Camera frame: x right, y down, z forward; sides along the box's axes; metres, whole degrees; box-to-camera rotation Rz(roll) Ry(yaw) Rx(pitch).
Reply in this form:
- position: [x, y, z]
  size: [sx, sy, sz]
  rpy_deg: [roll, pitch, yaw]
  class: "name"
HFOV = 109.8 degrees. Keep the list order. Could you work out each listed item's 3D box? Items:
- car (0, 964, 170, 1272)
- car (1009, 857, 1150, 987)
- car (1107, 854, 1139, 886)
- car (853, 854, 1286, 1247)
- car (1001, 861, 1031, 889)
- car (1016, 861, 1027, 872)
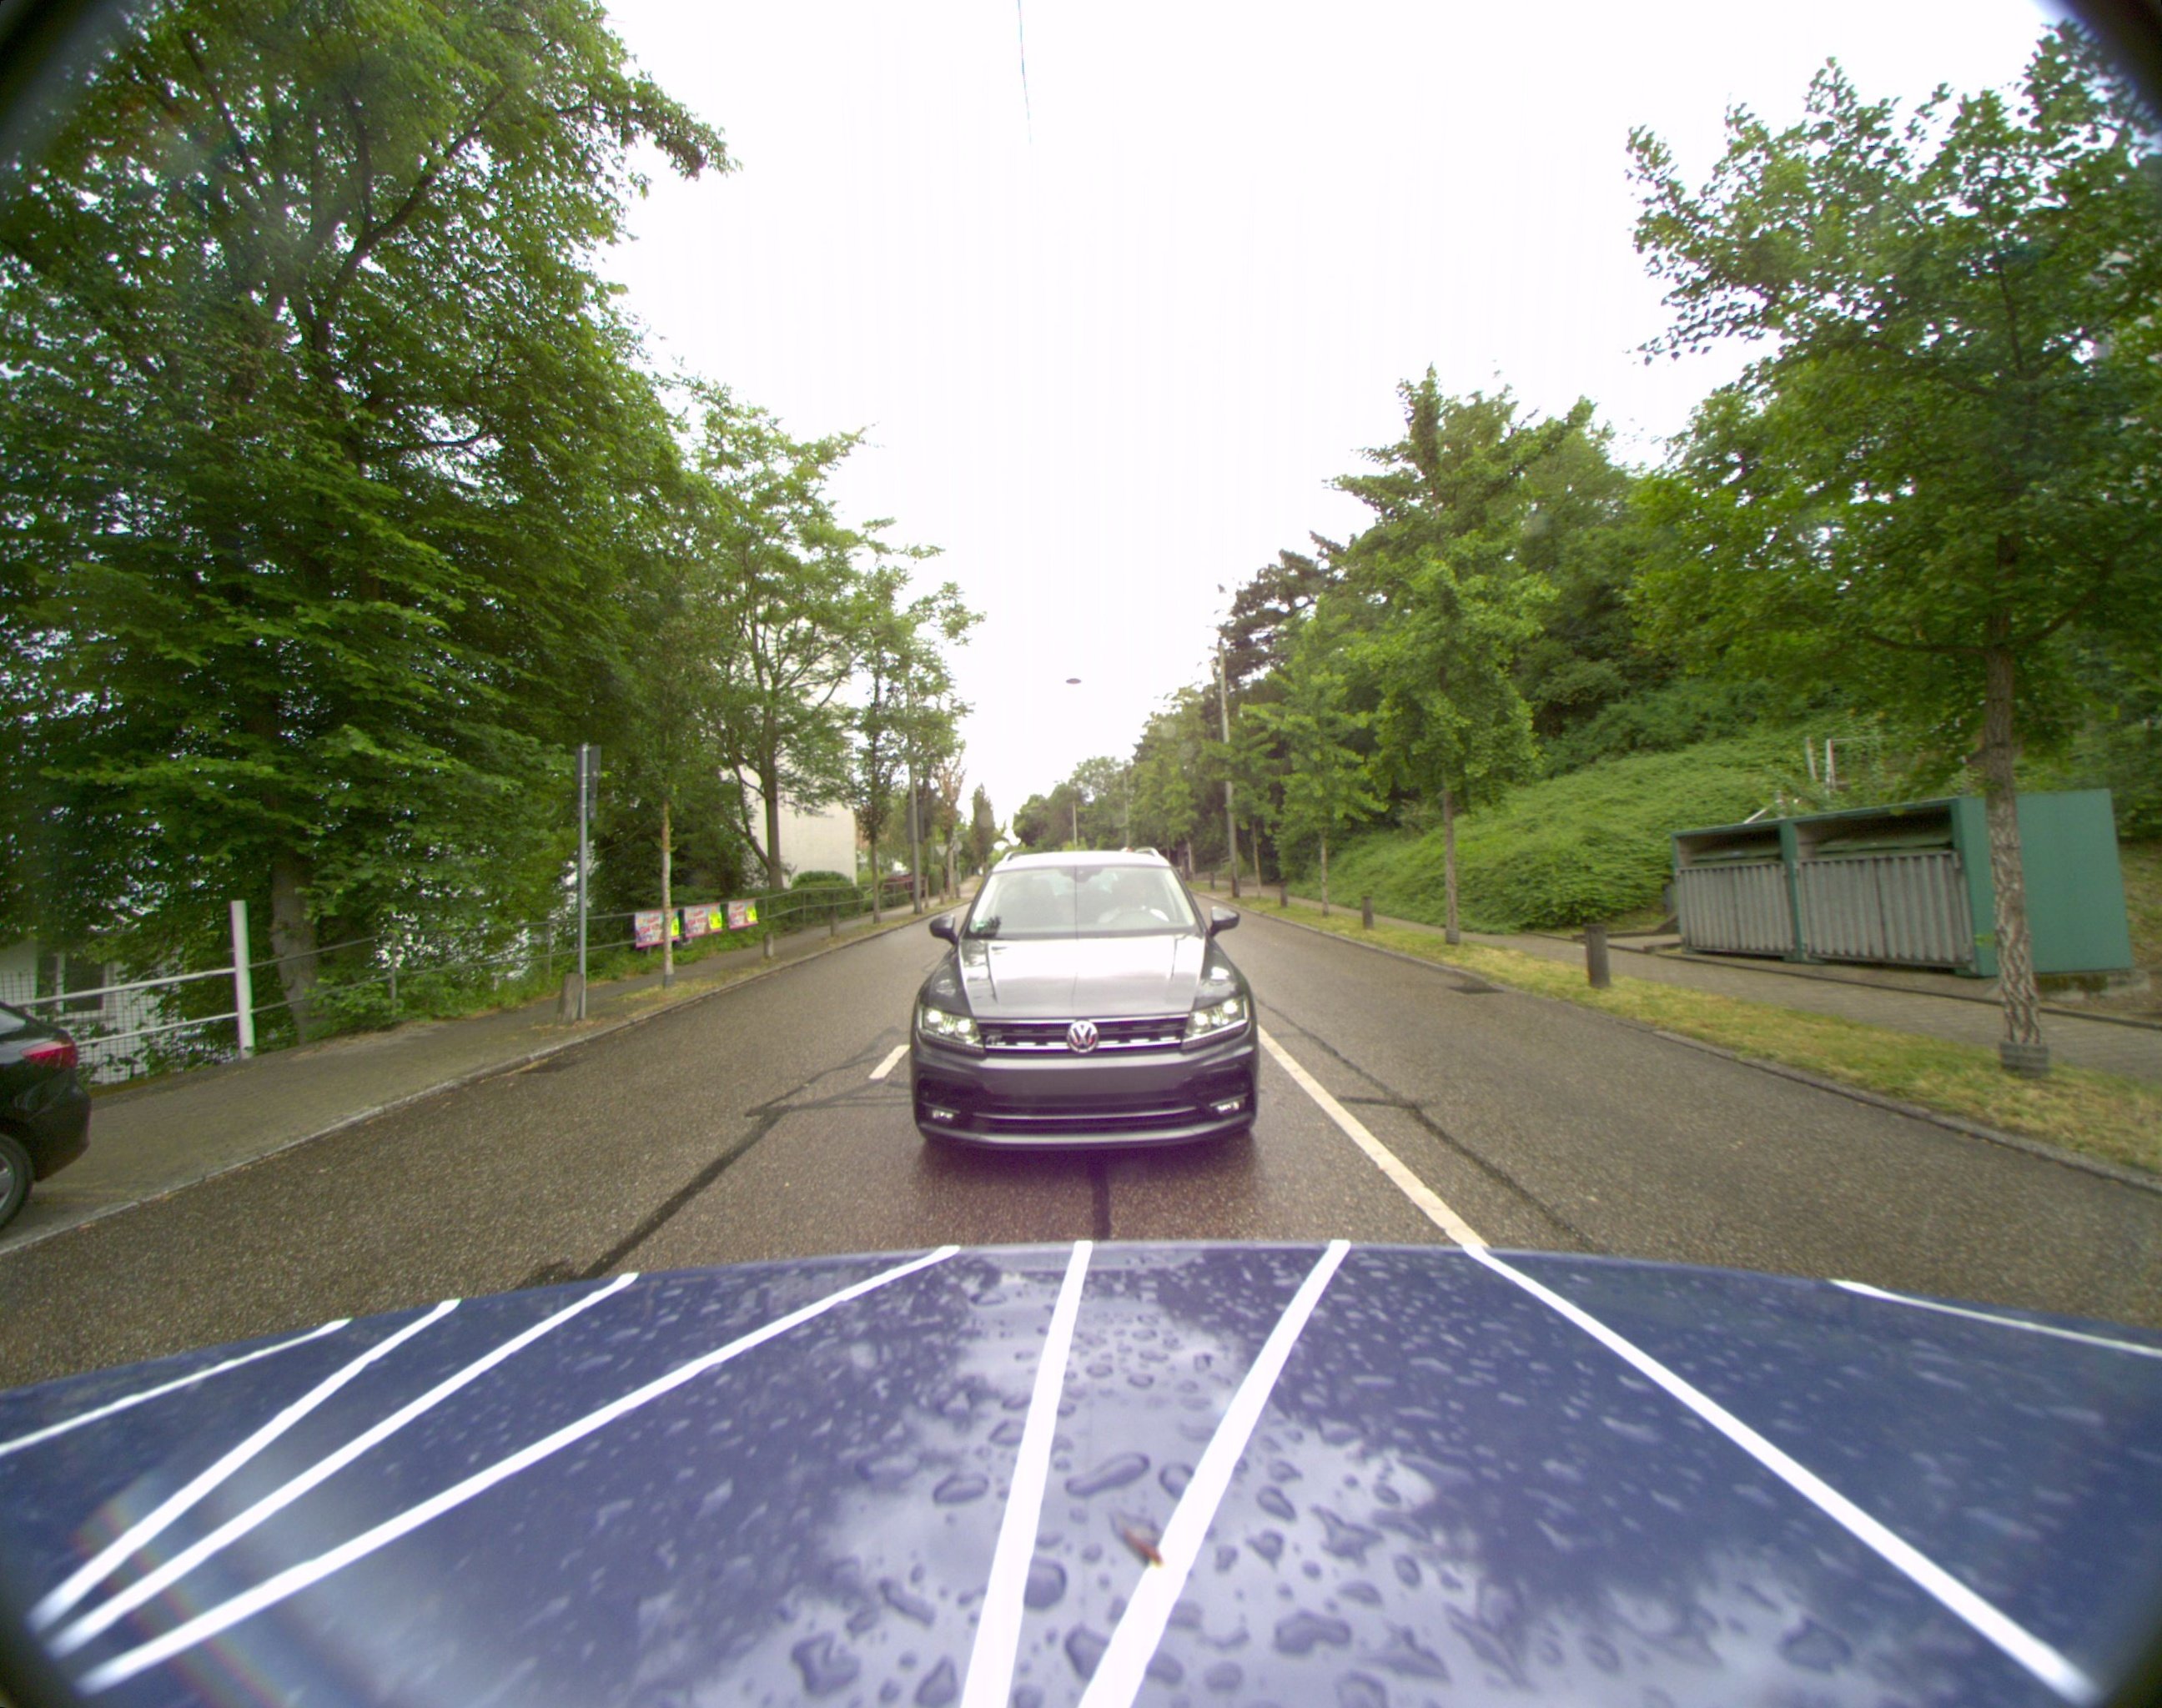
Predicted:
- position: [-6.347, 1.372, 2.236]
  size: [1.999, 1.426, 4.442]
  rpy_deg: [-1, 0, -1]
  class: "car"
- position: [0.006, 0.932, 12.454]
  size: [1.834, 1.608, 4.350]
  rpy_deg: [-3, 1, 1]
  class: "car"
- position: [2.477, 0.909, 45.936]
  size: [1.751, 1.817, 4.458]
  rpy_deg: [-1, 1, 1]
  class: "car"
- position: [-0.020, 0.875, 5.497]
  size: [1.834, 1.608, 4.292]
  rpy_deg: [-3, 1, 1]
  class: "car"
- position: [-4.351, 1.362, 51.199]
  size: [1.892, 1.710, 4.235]
  rpy_deg: [-1, 1, -3]
  class: "car"
- position: [-11.217, 2.351, 142.783]
  size: [1.835, 2.003, 4.054]
  rpy_deg: [-3, 1, -8]
  class: "car"
